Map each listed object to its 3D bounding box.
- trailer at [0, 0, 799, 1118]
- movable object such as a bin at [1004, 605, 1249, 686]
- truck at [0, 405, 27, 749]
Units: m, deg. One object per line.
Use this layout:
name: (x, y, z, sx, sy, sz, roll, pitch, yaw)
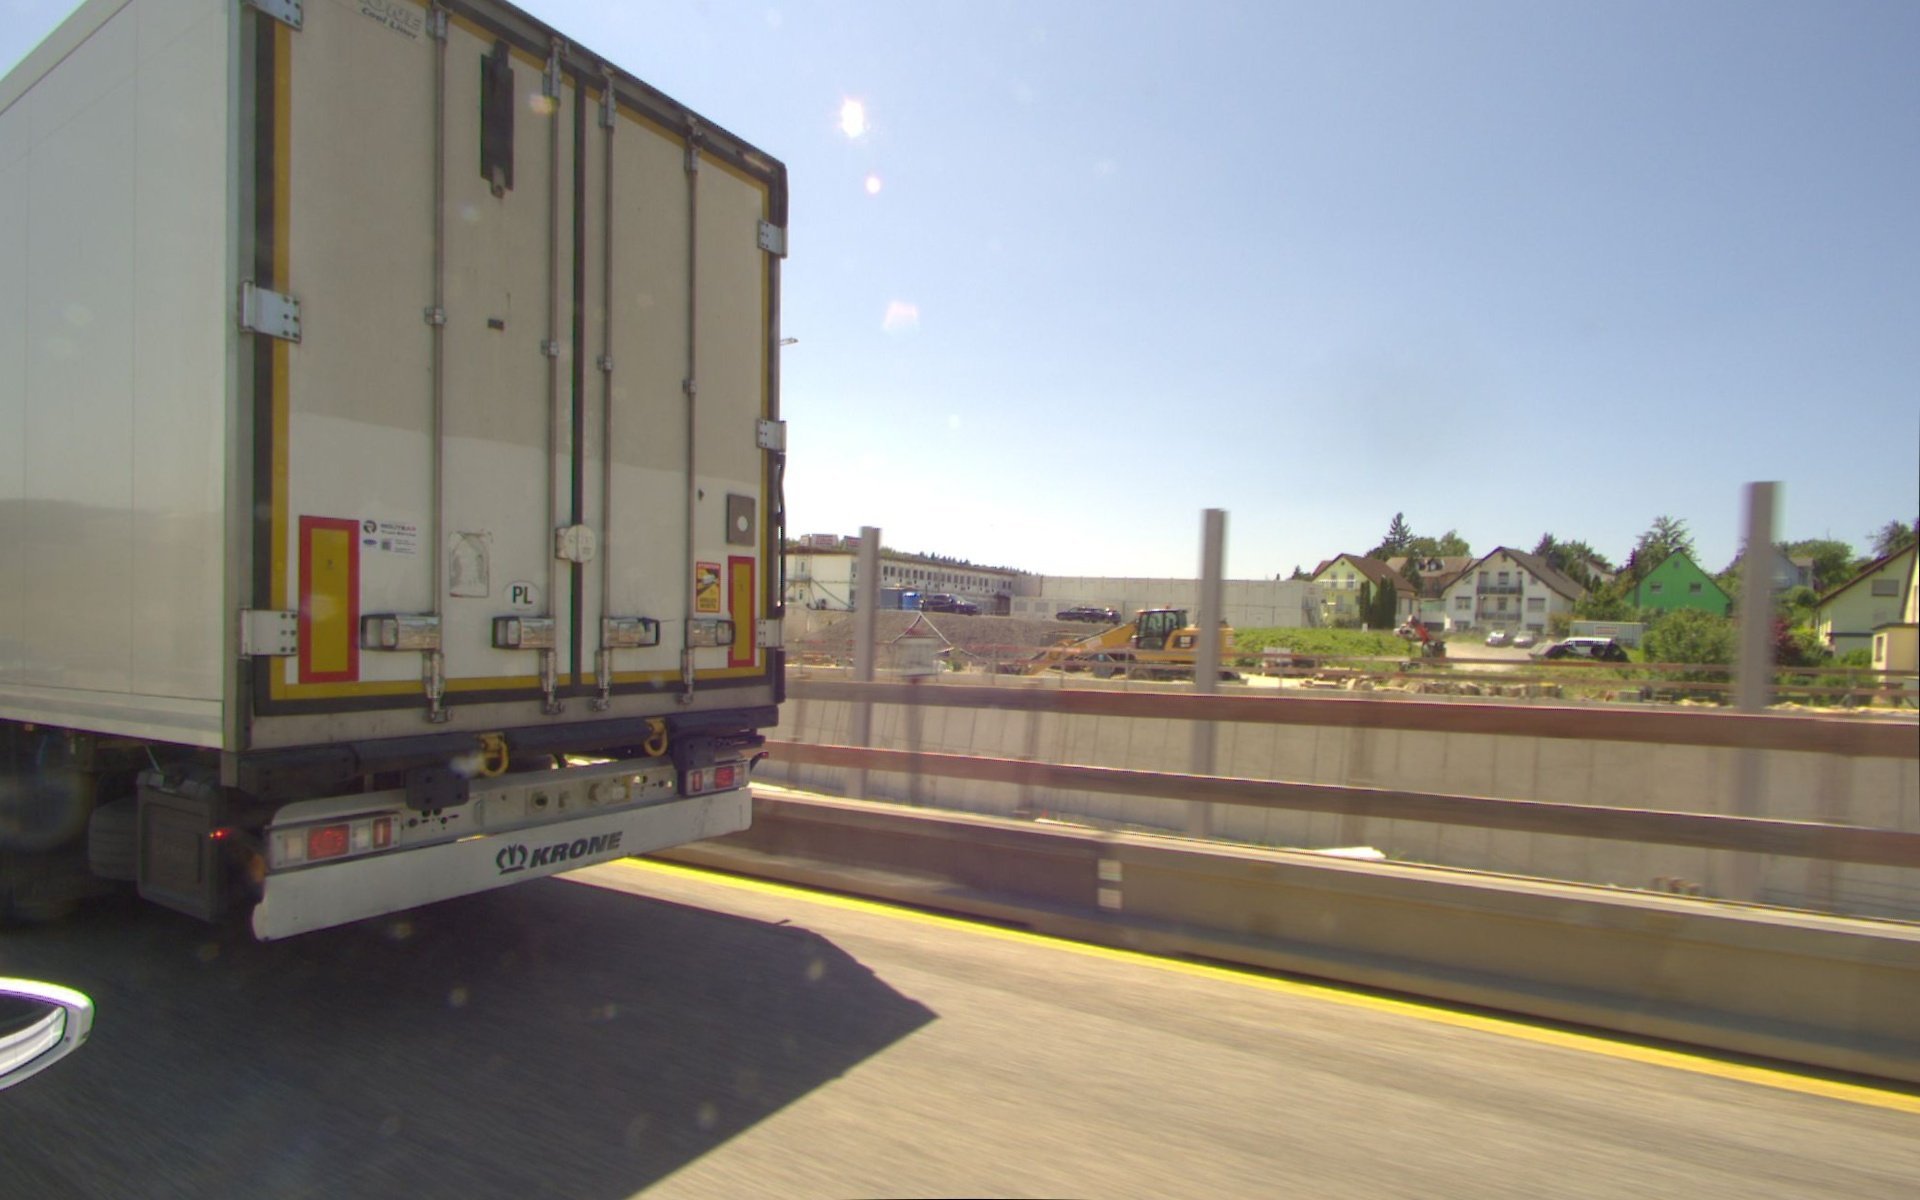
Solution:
trailer: (-7.460, -0.384, 7.971, 13.916, 4.110, 2.796, -1, -1, 33)
movable object such as a bin: (6.523, 1.734, 40.175, 9.344, 2.946, 2.883, 0, -2, 33)
truck: (-14.101, -0.269, 12.283, 4.835, 4.111, 2.771, -1, -1, 33)
